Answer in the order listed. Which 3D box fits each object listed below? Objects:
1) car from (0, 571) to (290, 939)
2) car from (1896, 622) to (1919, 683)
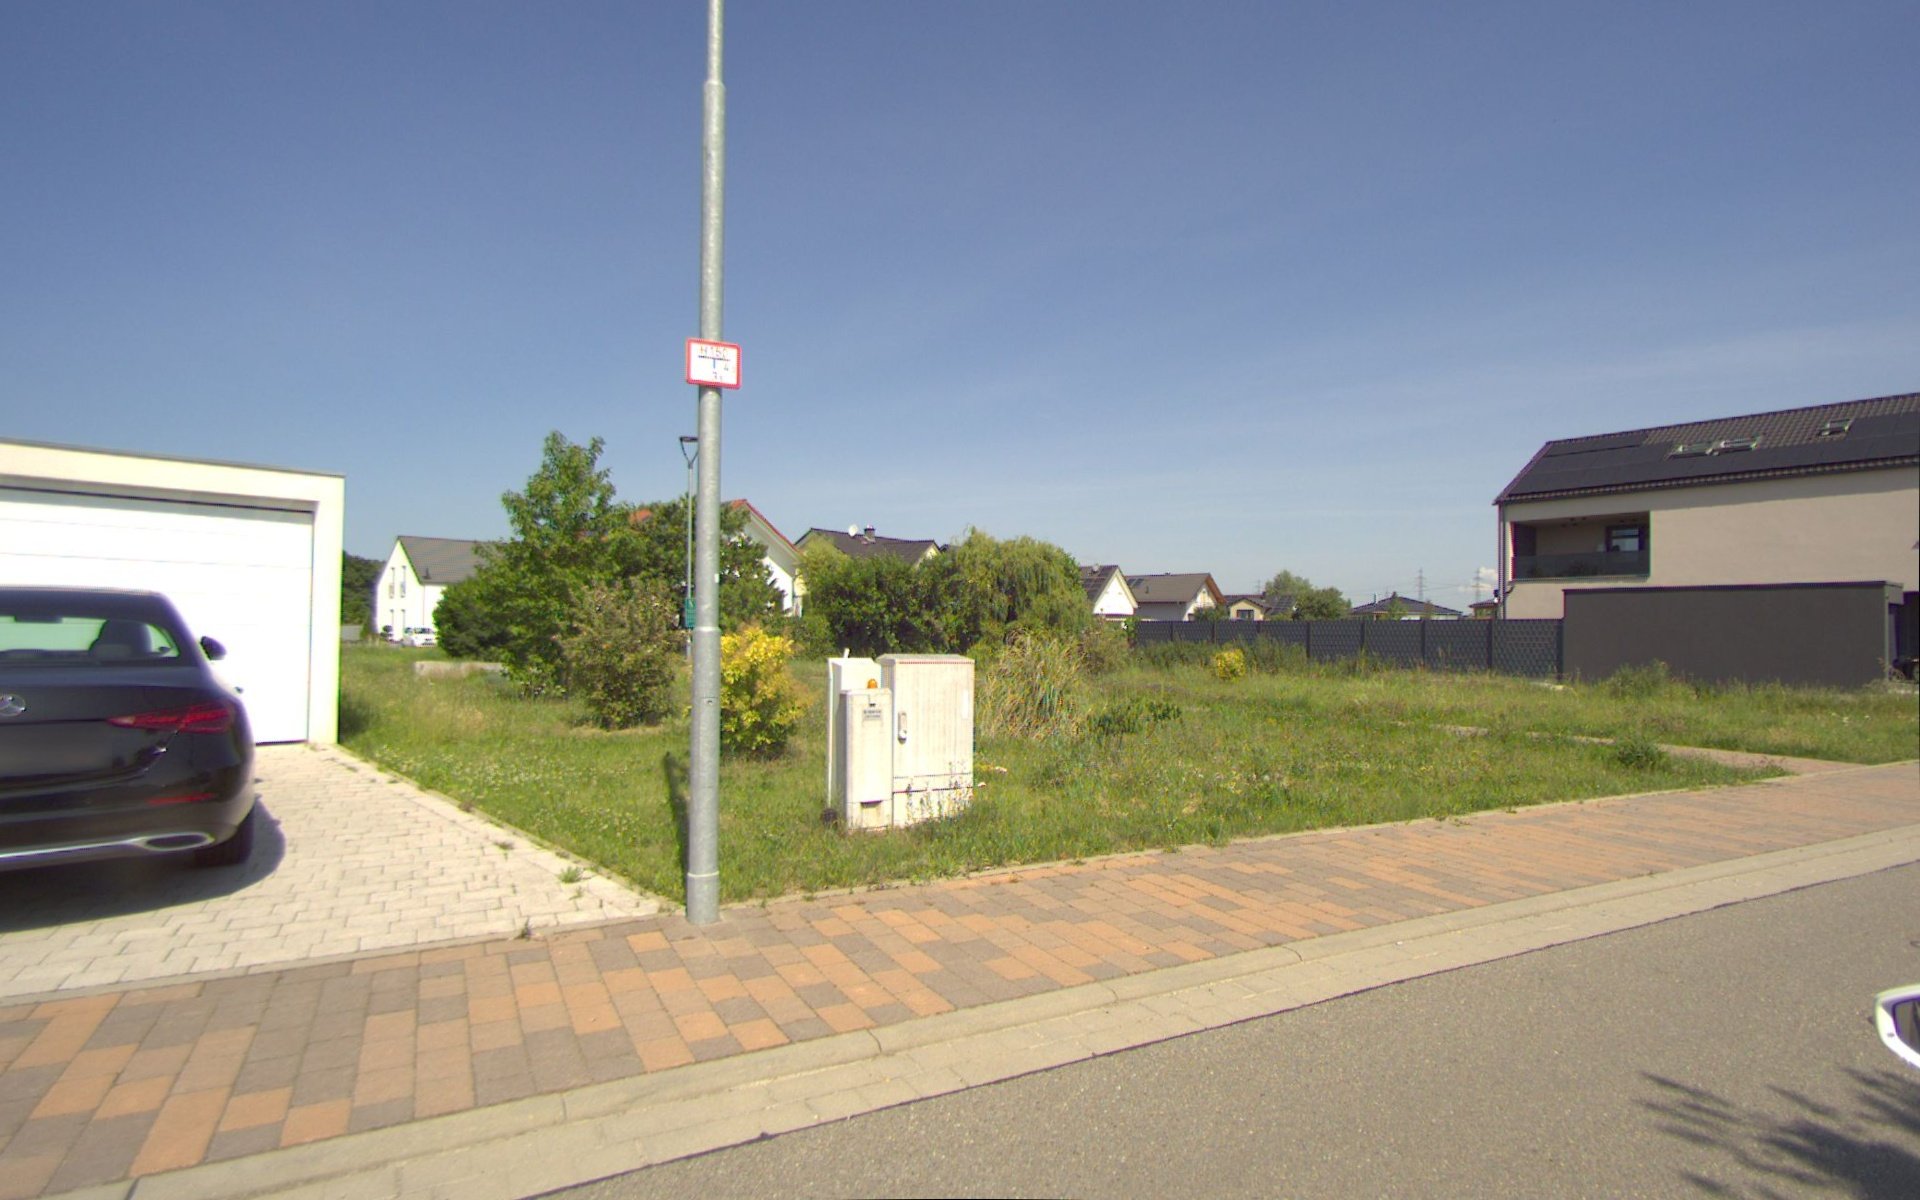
[{"bbox_3d":[-5.194,0.607,5.713,1.736,1.471,4.354,2,-1,-41],"label":"car"},{"bbox_3d":[28.203,1.531,26.889,1.754,1.653,4.344,2,1,-36],"label":"car"}]
